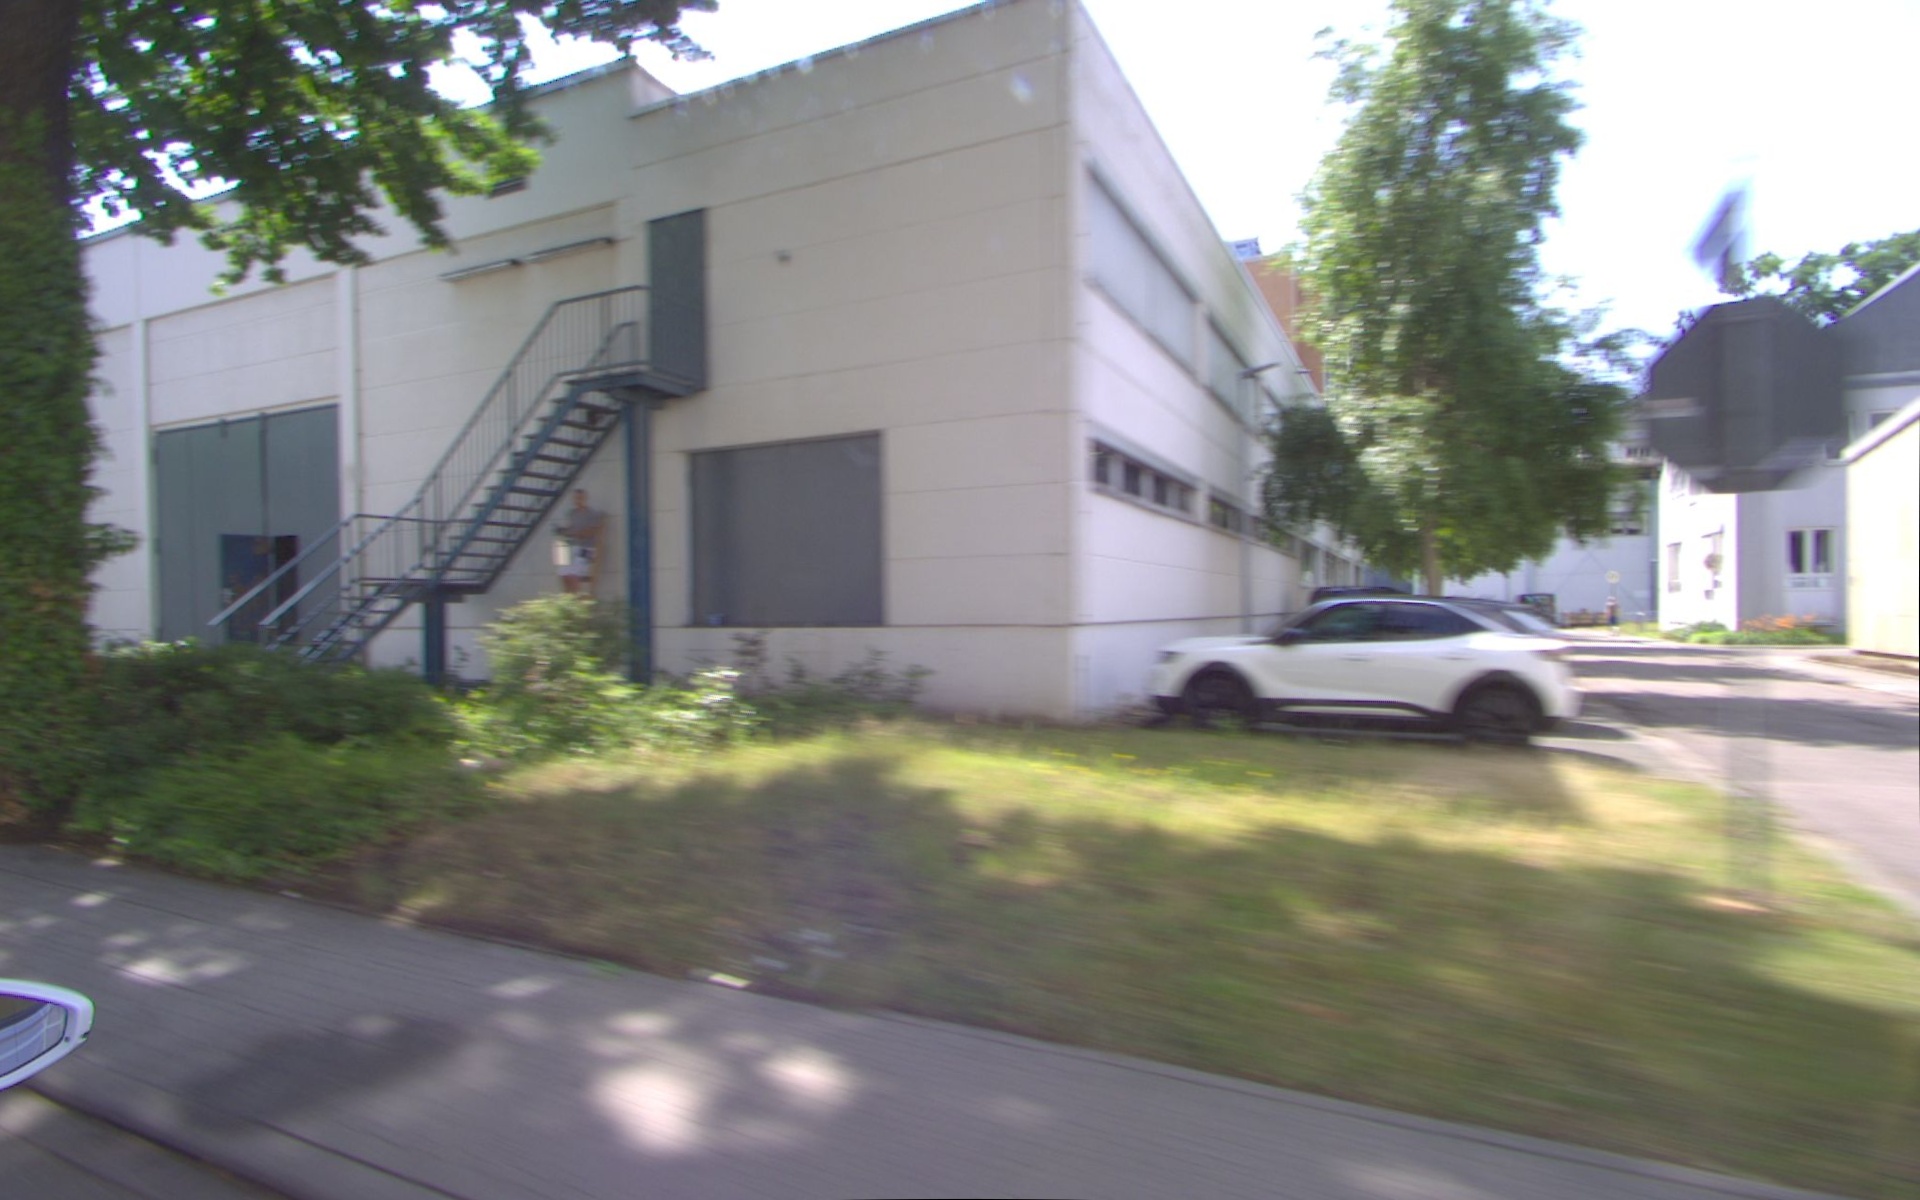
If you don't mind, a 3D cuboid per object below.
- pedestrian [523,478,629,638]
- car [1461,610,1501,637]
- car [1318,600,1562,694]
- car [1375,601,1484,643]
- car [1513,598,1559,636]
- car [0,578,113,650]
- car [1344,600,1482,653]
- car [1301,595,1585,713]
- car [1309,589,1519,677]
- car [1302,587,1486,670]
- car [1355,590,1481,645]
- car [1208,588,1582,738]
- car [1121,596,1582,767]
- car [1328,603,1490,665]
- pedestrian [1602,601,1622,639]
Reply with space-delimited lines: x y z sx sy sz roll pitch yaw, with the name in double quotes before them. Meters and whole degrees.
"pedestrian" -5.128 -0.531 13.384 0.935 2.040 0.926 0 1 29
"car" 30.263 1.328 58.220 1.800 1.450 3.987 2 1 25
"car" 8.973 0.809 18.949 3.935 1.495 1.824 2 1 27
"car" 19.239 0.873 41.133 3.935 1.513 1.824 2 1 27
"car" 32.217 0.921 56.122 1.800 2.038 3.987 2 1 25
"car" -27.978 0.406 29.039 2.029 2.040 4.823 -1 0 26
"car" 14.685 0.807 32.570 3.935 1.513 1.824 2 1 27
"car" 6.947 0.752 14.736 3.563 1.573 1.626 -1 0 22
"car" 9.771 0.643 21.688 3.935 1.660 1.824 2 1 27
"car" 10.468 0.664 24.178 3.938 1.852 1.992 -1 0 28
"car" 16.062 0.615 35.189 3.936 1.843 1.824 -1 0 27
"car" 5.235 0.699 12.329 3.936 1.599 1.824 -1 0 27
"car" 3.892 0.745 10.369 4.112 1.496 1.667 -1 0 24
"car" 12.450 0.898 27.874 3.935 1.513 1.824 2 1 27
"pedestrian" 28.805 0.873 44.244 0.719 1.680 0.827 0 0 32
